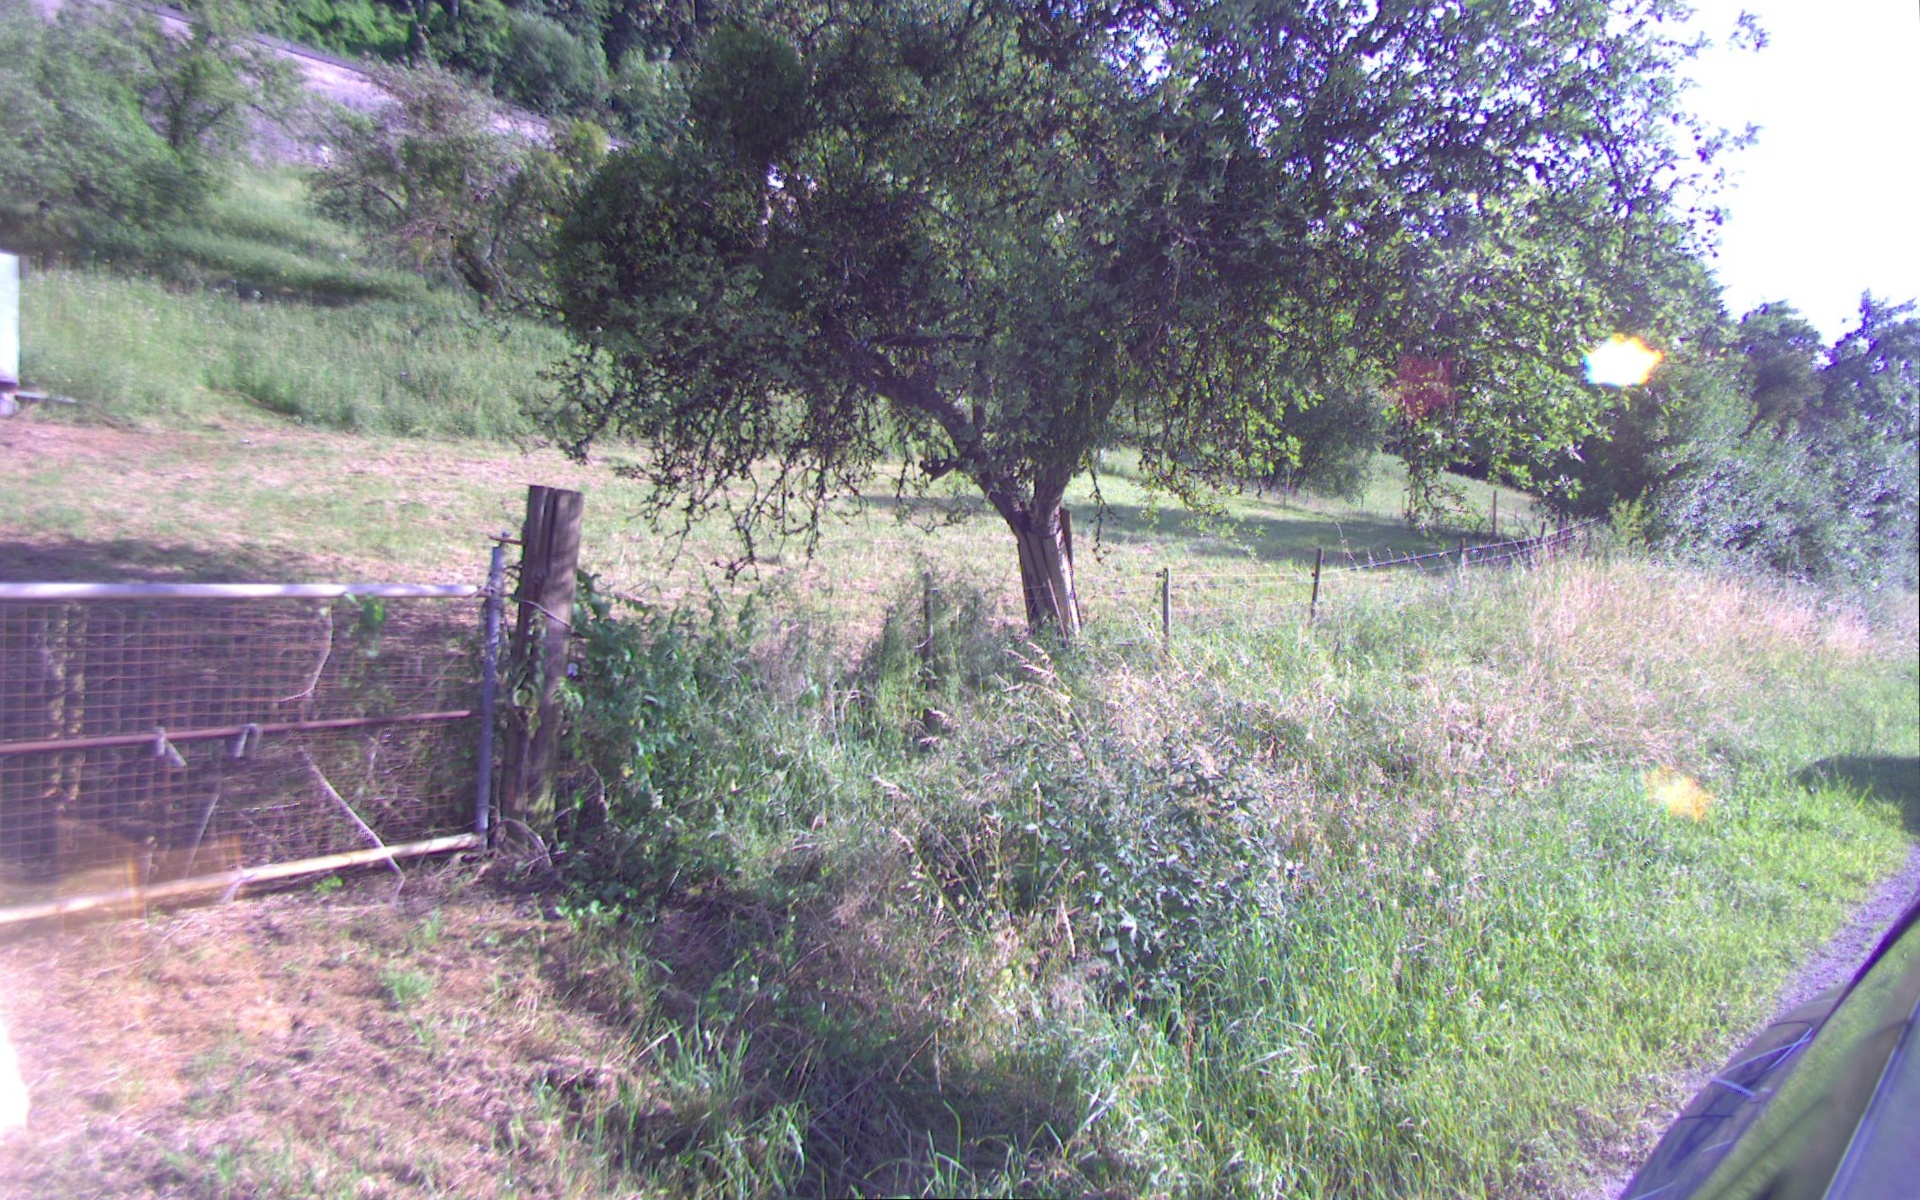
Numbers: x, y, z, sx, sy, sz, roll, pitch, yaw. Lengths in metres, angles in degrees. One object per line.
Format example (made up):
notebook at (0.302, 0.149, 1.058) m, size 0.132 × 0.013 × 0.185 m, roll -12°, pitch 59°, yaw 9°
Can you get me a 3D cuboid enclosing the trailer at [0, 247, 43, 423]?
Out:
trailer at (-17.548, -4.488, 15.398) m, size 5.159 × 2.590 × 2.155 m, roll 4°, pitch 1°, yaw -44°
